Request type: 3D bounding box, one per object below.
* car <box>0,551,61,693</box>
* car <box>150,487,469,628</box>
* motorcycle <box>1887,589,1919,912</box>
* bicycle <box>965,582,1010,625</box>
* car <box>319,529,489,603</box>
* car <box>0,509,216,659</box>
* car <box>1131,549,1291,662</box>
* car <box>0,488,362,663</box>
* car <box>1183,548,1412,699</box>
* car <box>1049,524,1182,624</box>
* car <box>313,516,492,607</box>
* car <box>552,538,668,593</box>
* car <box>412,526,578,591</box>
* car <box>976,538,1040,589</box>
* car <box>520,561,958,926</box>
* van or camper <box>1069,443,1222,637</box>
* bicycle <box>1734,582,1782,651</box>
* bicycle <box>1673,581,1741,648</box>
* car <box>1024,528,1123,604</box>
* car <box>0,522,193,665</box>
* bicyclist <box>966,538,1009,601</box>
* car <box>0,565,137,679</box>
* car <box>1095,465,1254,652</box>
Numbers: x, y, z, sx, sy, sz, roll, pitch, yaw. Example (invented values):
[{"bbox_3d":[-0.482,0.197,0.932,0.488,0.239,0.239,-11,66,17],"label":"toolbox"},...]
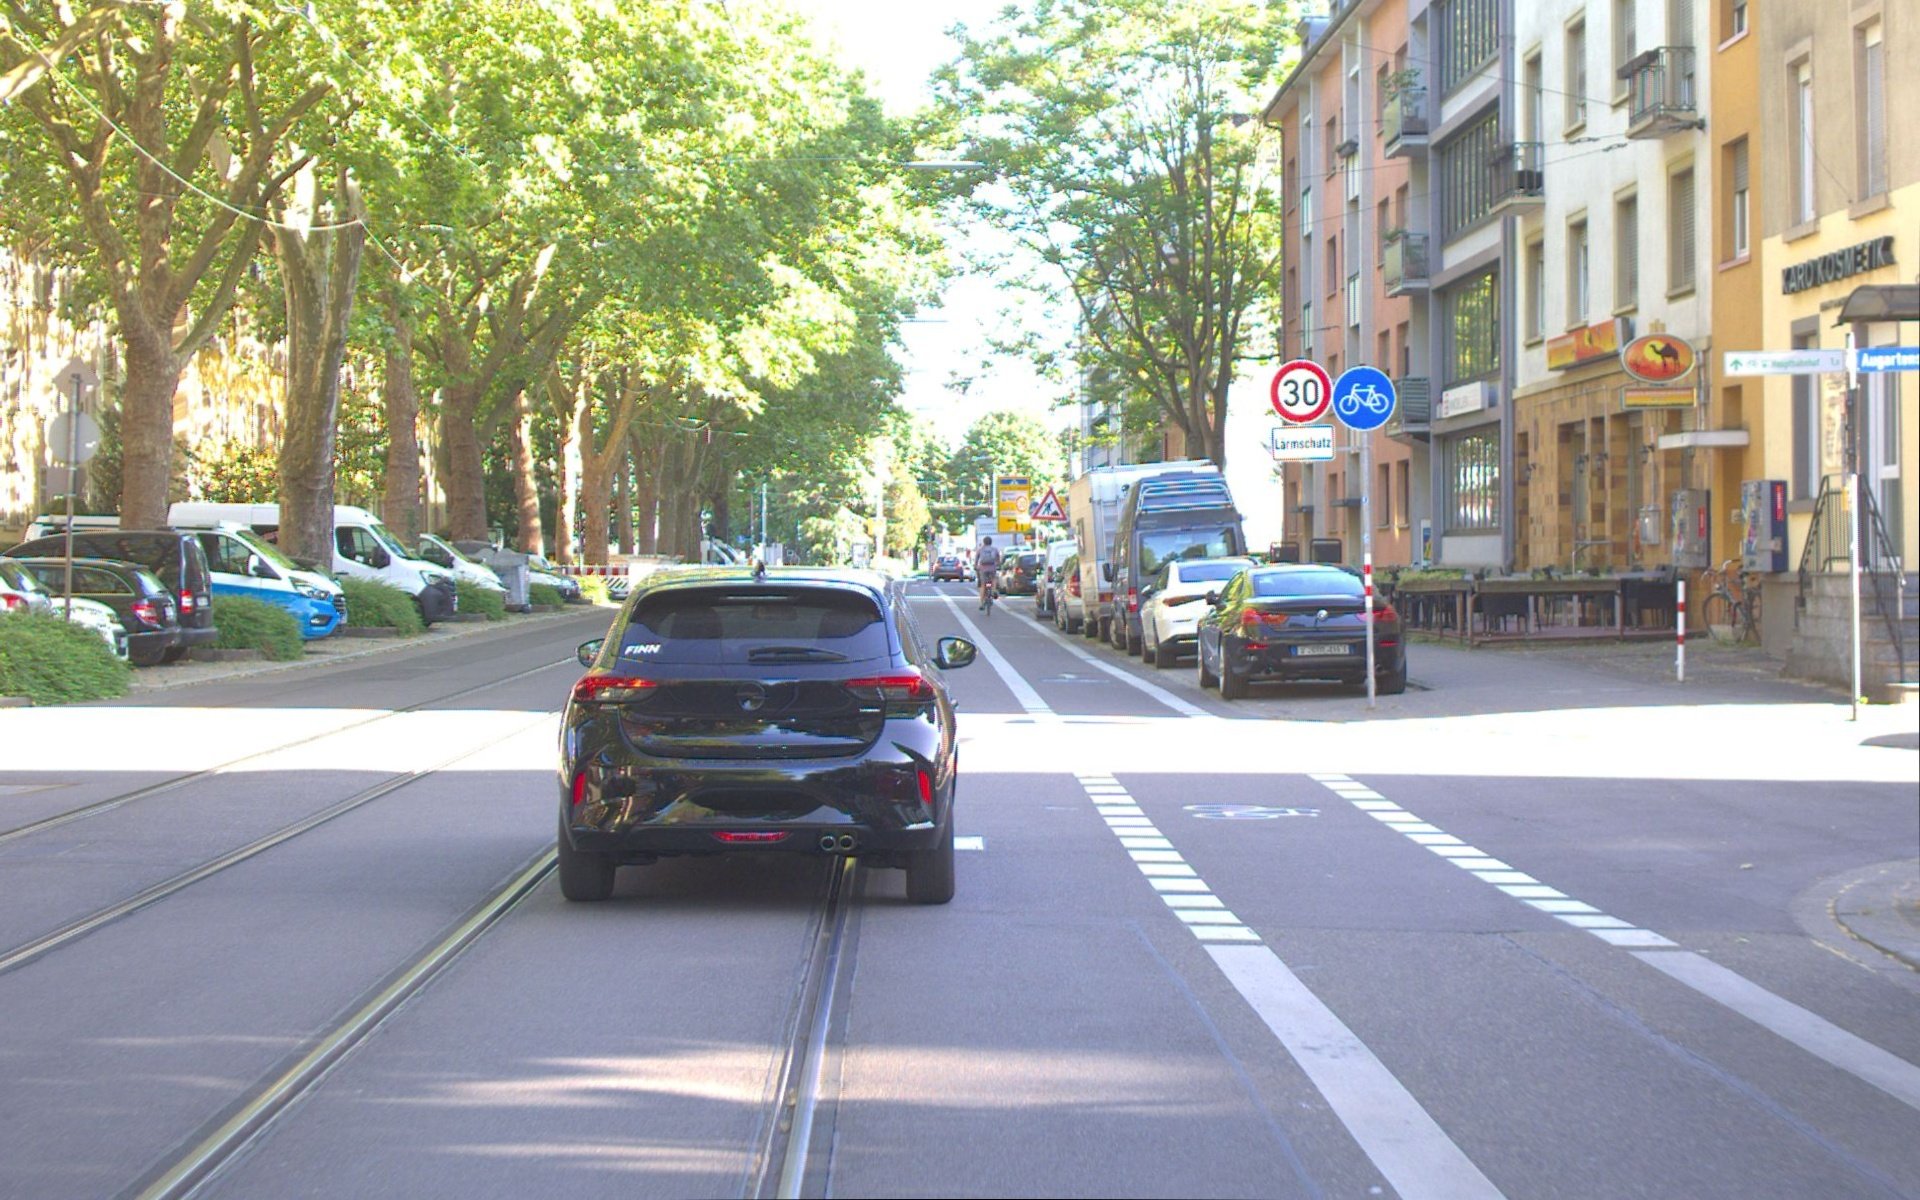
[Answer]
[{"bbox_3d":[-12.713,0.363,39.599,4.298,1.588,1.783,-4,1,-8],"label":"car"},{"bbox_3d":[-12.440,-0.813,65.983,5.639,2.584,2.196,1,1,3],"label":"car"},{"bbox_3d":[5.070,0.603,14.674,2.092,1.354,0.923,-2,0,16],"label":"motorcycle"},{"bbox_3d":[0.648,0.077,82.248,0.968,0.995,2.583,1,1,-2],"label":"bicycle"},{"bbox_3d":[-14.026,-0.863,86.786,4.175,1.788,2.001,1,1,-9],"label":"car"},{"bbox_3d":[-12.391,-0.171,46.576,4.298,1.834,1.783,-4,1,-8],"label":"car"},{"bbox_3d":[3.362,0.083,46.757,1.803,1.429,4.000,-1,0,-1],"label":"car"},{"bbox_3d":[-12.030,-0.391,53.273,5.036,2.366,2.081,-3,1,0],"label":"car"},{"bbox_3d":[3.527,0.207,36.663,1.884,1.429,4.530,-2,1,-1],"label":"car"},{"bbox_3d":[3.006,-0.533,67.718,2.254,1.834,5.531,-1,1,-1],"label":"car"},{"bbox_3d":[-12.808,-0.879,79.014,3.986,2.007,2.001,1,1,-9],"label":"car"},{"bbox_3d":[-13.081,-1.288,128.546,3.988,2.007,2.000,1,1,6],"label":"car"},{"bbox_3d":[-12.503,-1.123,92.317,4.353,1.659,2.001,1,1,-9],"label":"car"},{"bbox_3d":[1.808,-1.407,130.764,2.254,1.834,5.531,-1,1,-1],"label":"car"},{"bbox_3d":[-0.920,0.561,15.967,1.763,1.455,3.950,1,1,-1],"label":"car"},{"bbox_3d":[3.198,-1.045,60.512,2.254,3.205,5.531,-1,1,-1],"label":"van or camper"},{"bbox_3d":[9.546,0.192,41.150,0.474,0.786,1.790,1,1,11],"label":"bicycle"},{"bbox_3d":[9.188,0.171,42.329,0.409,0.786,1.791,1,1,-1],"label":"bicycle"},{"bbox_3d":[2.902,-0.891,88.802,2.254,1.834,5.531,-1,1,-1],"label":"car"},{"bbox_3d":[-12.190,-0.026,44.250,4.298,1.669,1.783,-4,1,-8],"label":"car"},{"bbox_3d":[0.646,-0.728,82.192,0.958,1.494,1.094,1,1,-2],"label":"bicyclist"},{"bbox_3d":[-12.423,0.342,42.219,4.298,1.286,1.711,-4,1,-8],"label":"car"},{"bbox_3d":[3.314,-0.678,53.952,2.085,2.762,4.698,-1,1,-1],"label":"car"}]
